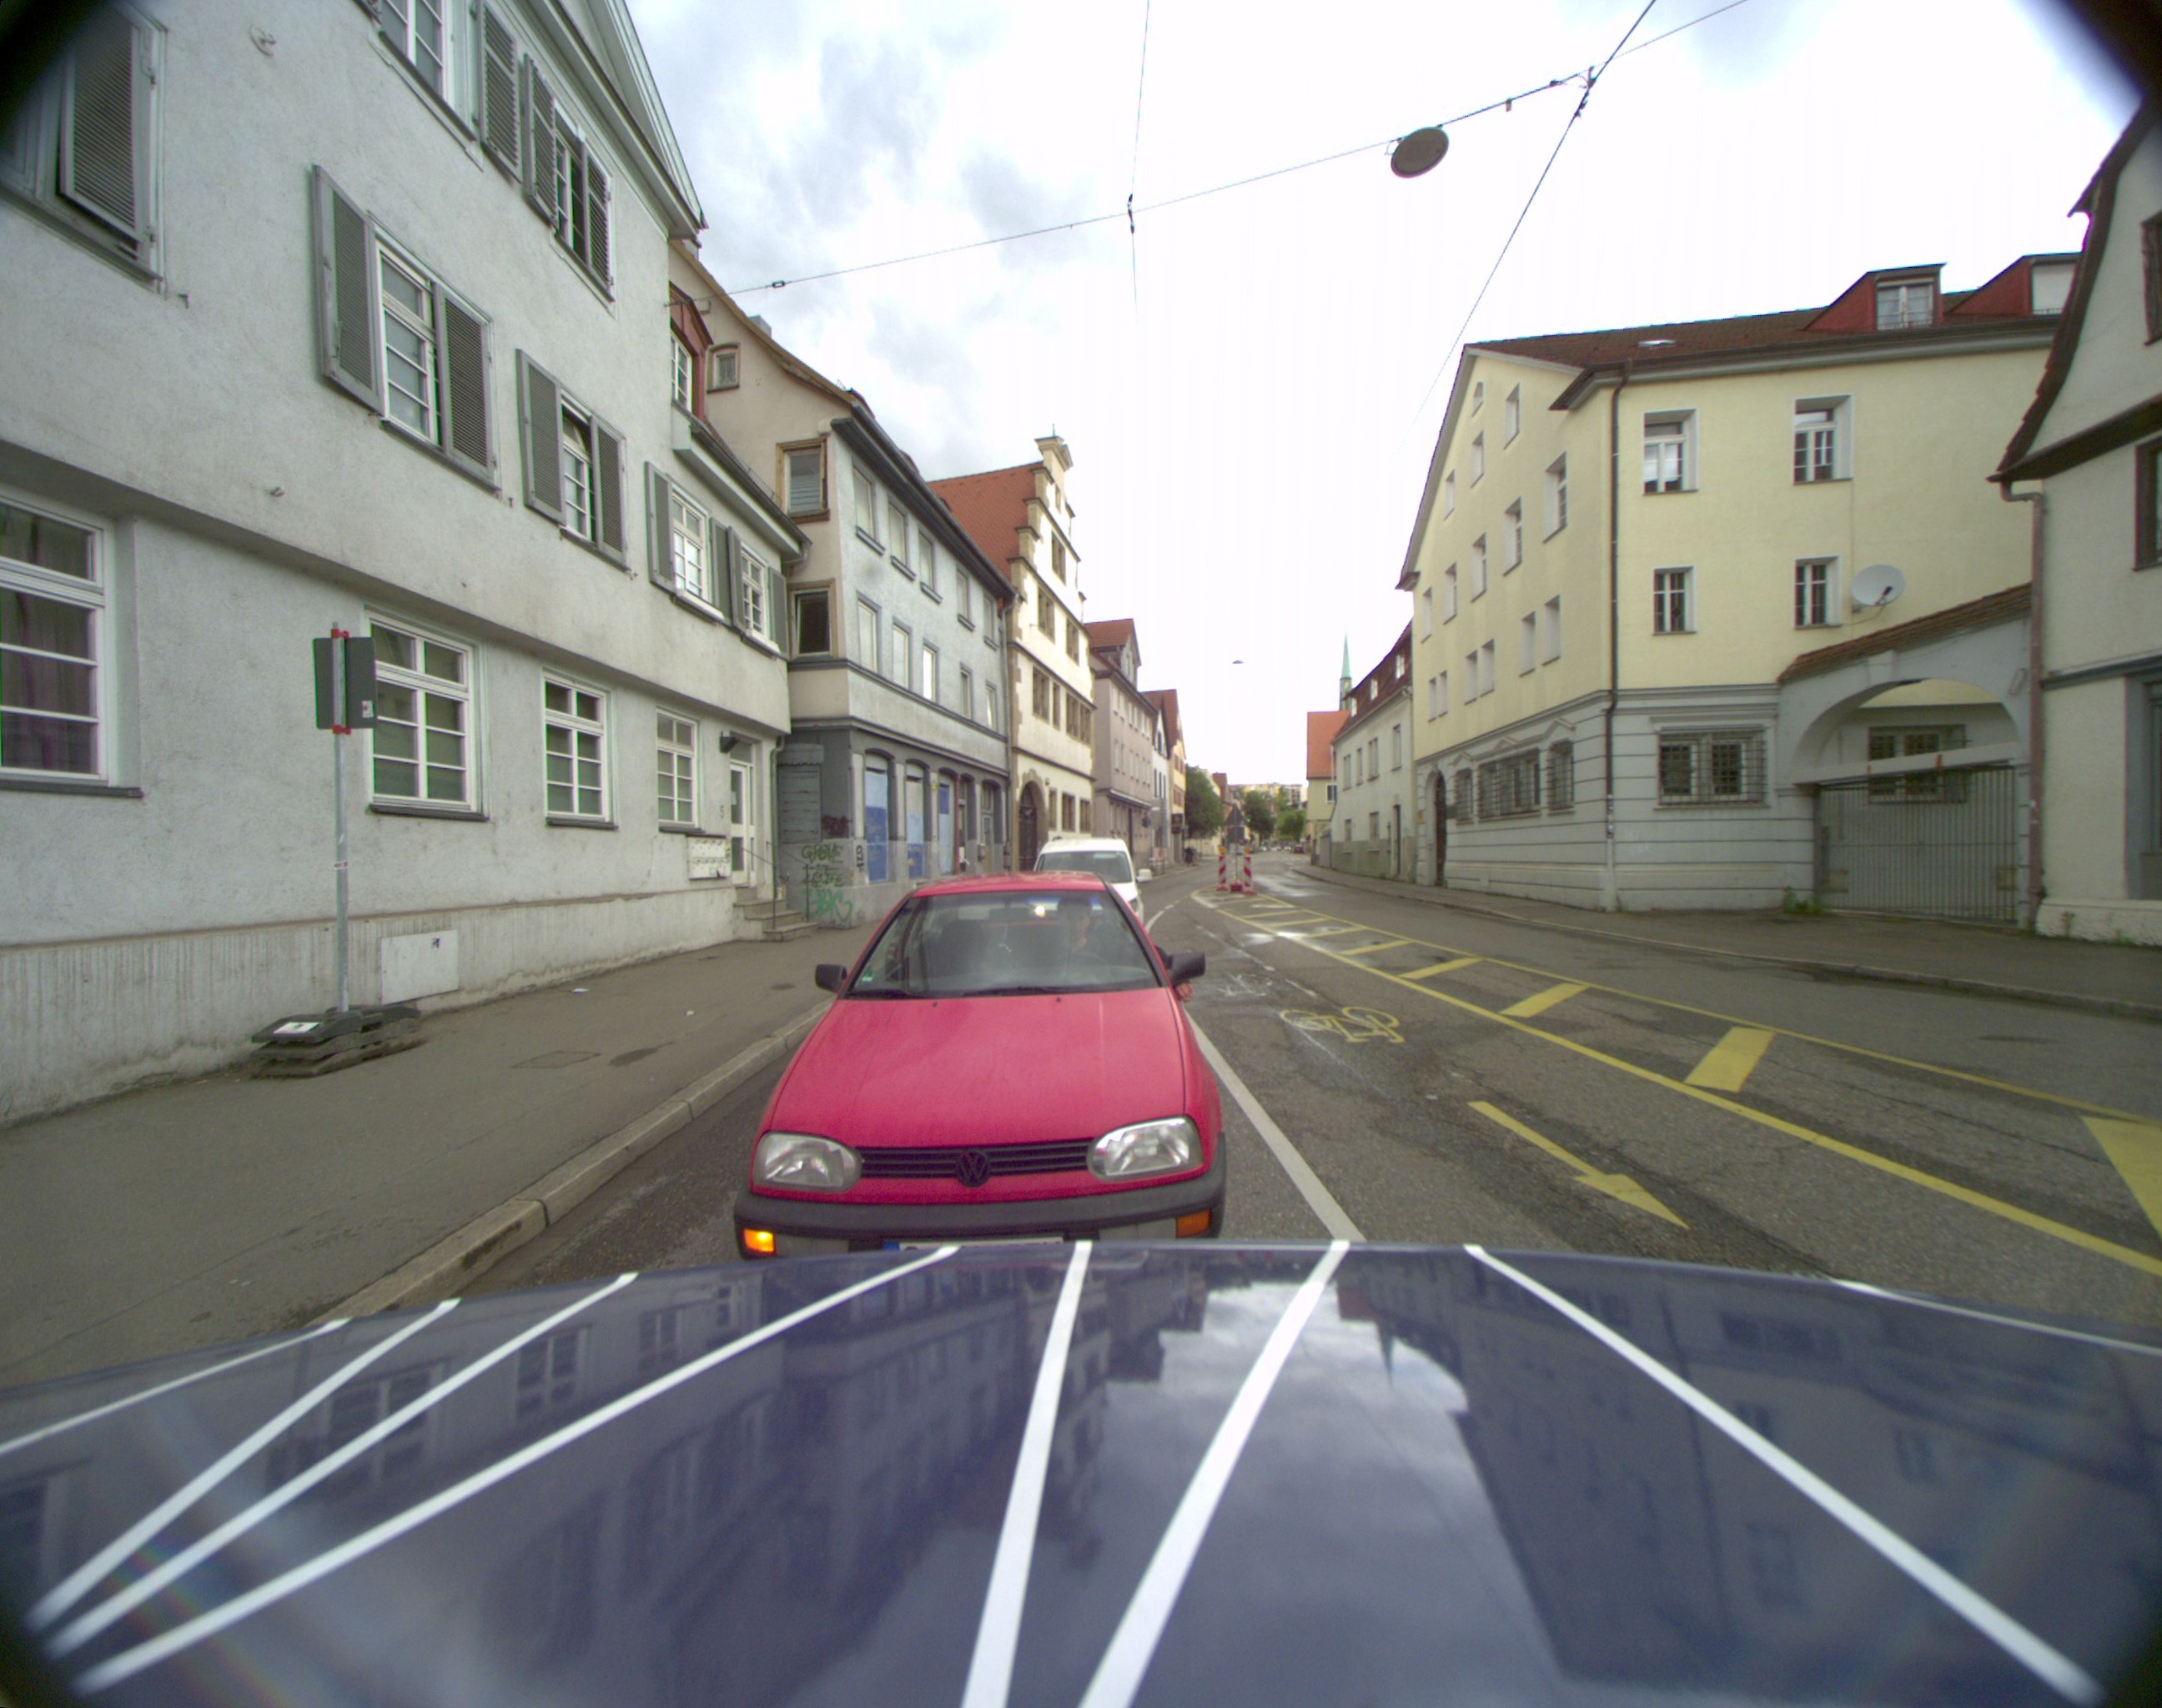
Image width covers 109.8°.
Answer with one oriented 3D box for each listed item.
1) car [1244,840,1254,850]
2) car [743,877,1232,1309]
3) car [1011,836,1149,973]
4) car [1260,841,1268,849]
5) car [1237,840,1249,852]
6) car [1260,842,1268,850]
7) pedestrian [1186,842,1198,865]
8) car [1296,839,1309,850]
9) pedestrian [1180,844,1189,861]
[{"bbox_3d":[34.084,-1.755,154.254,1.996,2.002,4.004,-1,0,13],"label":"car"},{"bbox_3d":[-0.334,0.988,4.935,1.804,1.458,4.000,-4,0,1],"label":"car"},{"bbox_3d":[0.011,0.679,12.243,1.804,1.781,4.349,-1,0,1],"label":"car"},{"bbox_3d":[44.951,-2.153,186.813,1.996,2.002,4.004,-1,0,13],"label":"car"},{"bbox_3d":[28.450,-1.341,133.501,1.996,2.002,4.004,-1,0,13],"label":"car"},{"bbox_3d":[48.472,-2.104,201.287,1.996,2.002,4.004,-1,0,13],"label":"car"},{"bbox_3d":[9.107,-0.016,62.417,0.877,1.888,0.898,-1,0,14],"label":"pedestrian"},{"bbox_3d":[42.722,-1.774,146.582,2.057,2.002,4.004,-1,0,13],"label":"car"},{"bbox_3d":[10.791,-0.117,79.346,0.562,1.784,0.658,-1,1,-28],"label":"pedestrian"}]
